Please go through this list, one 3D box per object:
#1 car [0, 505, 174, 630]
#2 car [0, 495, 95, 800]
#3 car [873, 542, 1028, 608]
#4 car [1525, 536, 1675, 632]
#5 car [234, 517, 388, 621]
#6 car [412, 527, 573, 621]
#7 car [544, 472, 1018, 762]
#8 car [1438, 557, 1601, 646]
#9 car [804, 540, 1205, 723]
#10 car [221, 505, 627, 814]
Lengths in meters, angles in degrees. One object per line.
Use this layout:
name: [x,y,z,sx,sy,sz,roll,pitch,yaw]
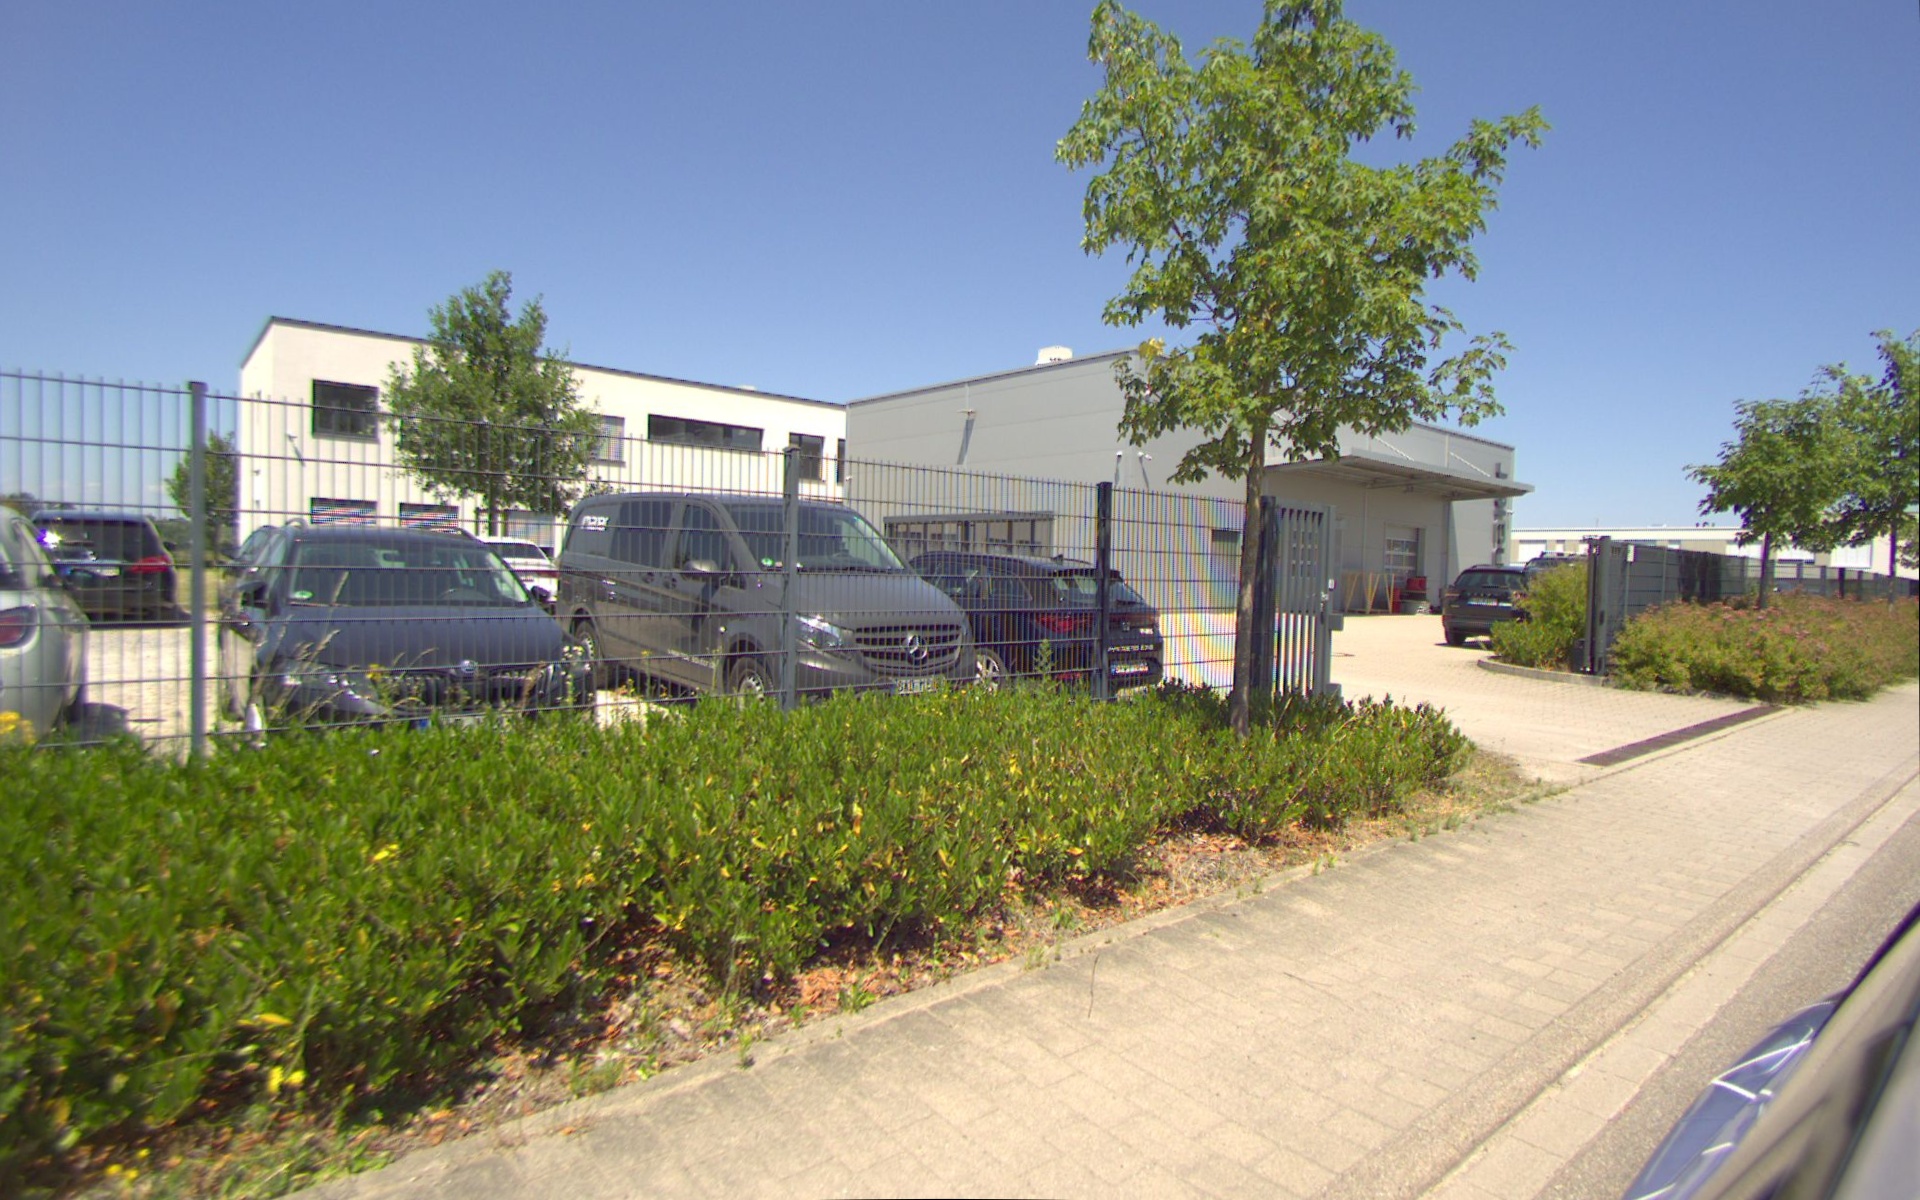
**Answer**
car: [-12.260,-0.508,14.317,1.734,1.521,3.886,0,3,-37]
car: [-6.385,0.094,6.122,1.724,1.462,4.289,0,4,-40]
car: [-0.307,-0.681,25.889,1.818,1.504,3.996,0,3,-40]
car: [15.738,-0.398,24.814,4.151,2.112,1.881,0,4,-40]
car: [-10.248,-0.544,15.850,1.734,1.420,3.886,0,3,-37]
car: [-8.193,-0.508,17.554,1.734,1.420,3.886,0,3,-37]
car: [-1.945,-0.066,9.158,1.869,1.896,5.126,0,4,-40]
car: [11.193,-0.005,20.157,3.811,1.574,1.546,0,3,-40]
car: [0.252,0.161,10.515,1.734,1.439,4.225,0,4,-40]
car: [-3.926,0.136,6.966,1.574,1.467,4.355,0,4,-40]
